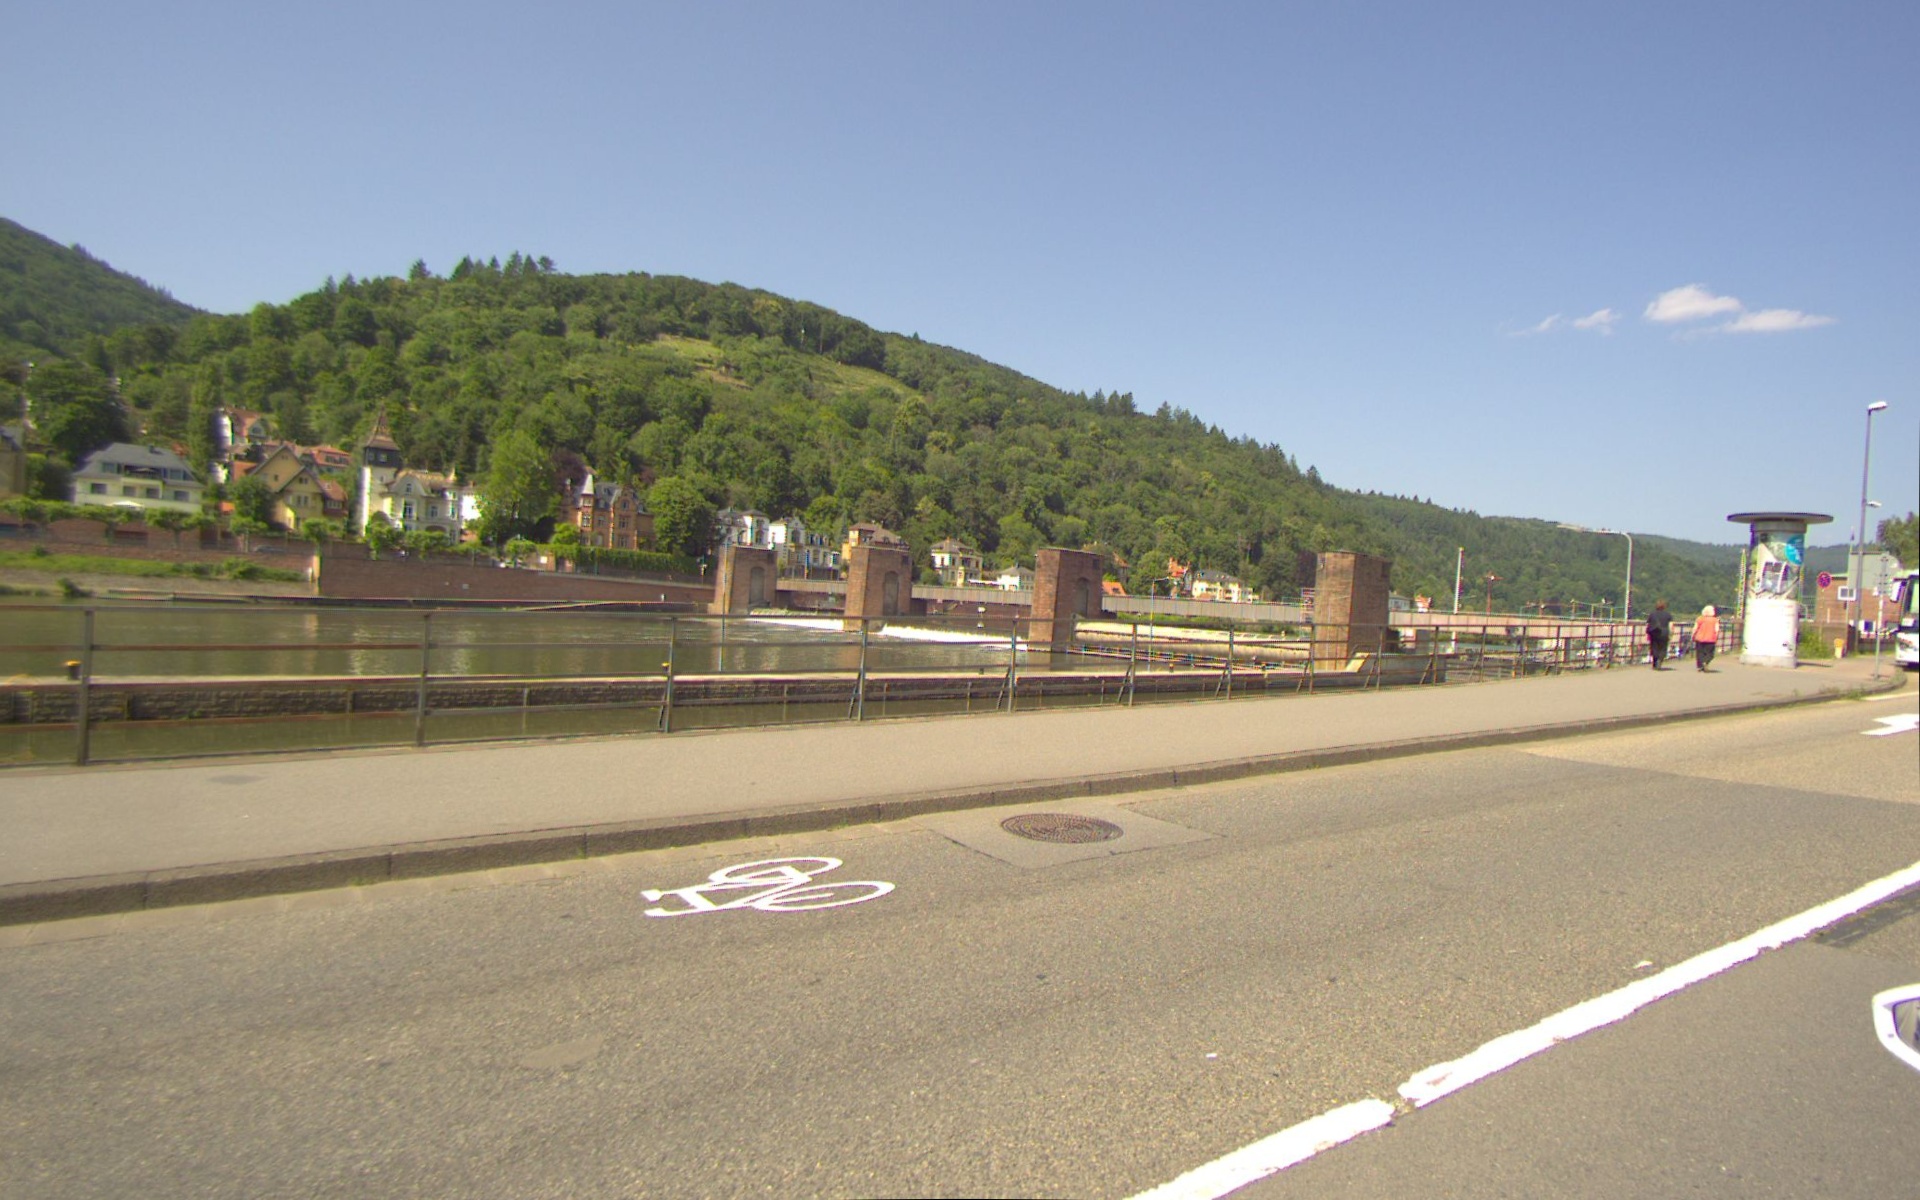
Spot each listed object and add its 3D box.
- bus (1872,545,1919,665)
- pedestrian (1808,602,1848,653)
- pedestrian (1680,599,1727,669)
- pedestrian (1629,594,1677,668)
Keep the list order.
[{"bbox_3d":[36.739,0.365,36.521,13.128,3.852,2.933,2,4,-39],"label":"bus"},{"bbox_3d":[31.717,0.995,36.718,1.032,1.820,0.885,2,0,-39],"label":"pedestrian"},{"bbox_3d":[18.063,0.813,24.410,0.810,1.642,0.696,2,0,-40],"label":"pedestrian"},{"bbox_3d":[16.722,0.736,24.246,0.766,1.732,0.678,2,0,-35],"label":"pedestrian"}]
